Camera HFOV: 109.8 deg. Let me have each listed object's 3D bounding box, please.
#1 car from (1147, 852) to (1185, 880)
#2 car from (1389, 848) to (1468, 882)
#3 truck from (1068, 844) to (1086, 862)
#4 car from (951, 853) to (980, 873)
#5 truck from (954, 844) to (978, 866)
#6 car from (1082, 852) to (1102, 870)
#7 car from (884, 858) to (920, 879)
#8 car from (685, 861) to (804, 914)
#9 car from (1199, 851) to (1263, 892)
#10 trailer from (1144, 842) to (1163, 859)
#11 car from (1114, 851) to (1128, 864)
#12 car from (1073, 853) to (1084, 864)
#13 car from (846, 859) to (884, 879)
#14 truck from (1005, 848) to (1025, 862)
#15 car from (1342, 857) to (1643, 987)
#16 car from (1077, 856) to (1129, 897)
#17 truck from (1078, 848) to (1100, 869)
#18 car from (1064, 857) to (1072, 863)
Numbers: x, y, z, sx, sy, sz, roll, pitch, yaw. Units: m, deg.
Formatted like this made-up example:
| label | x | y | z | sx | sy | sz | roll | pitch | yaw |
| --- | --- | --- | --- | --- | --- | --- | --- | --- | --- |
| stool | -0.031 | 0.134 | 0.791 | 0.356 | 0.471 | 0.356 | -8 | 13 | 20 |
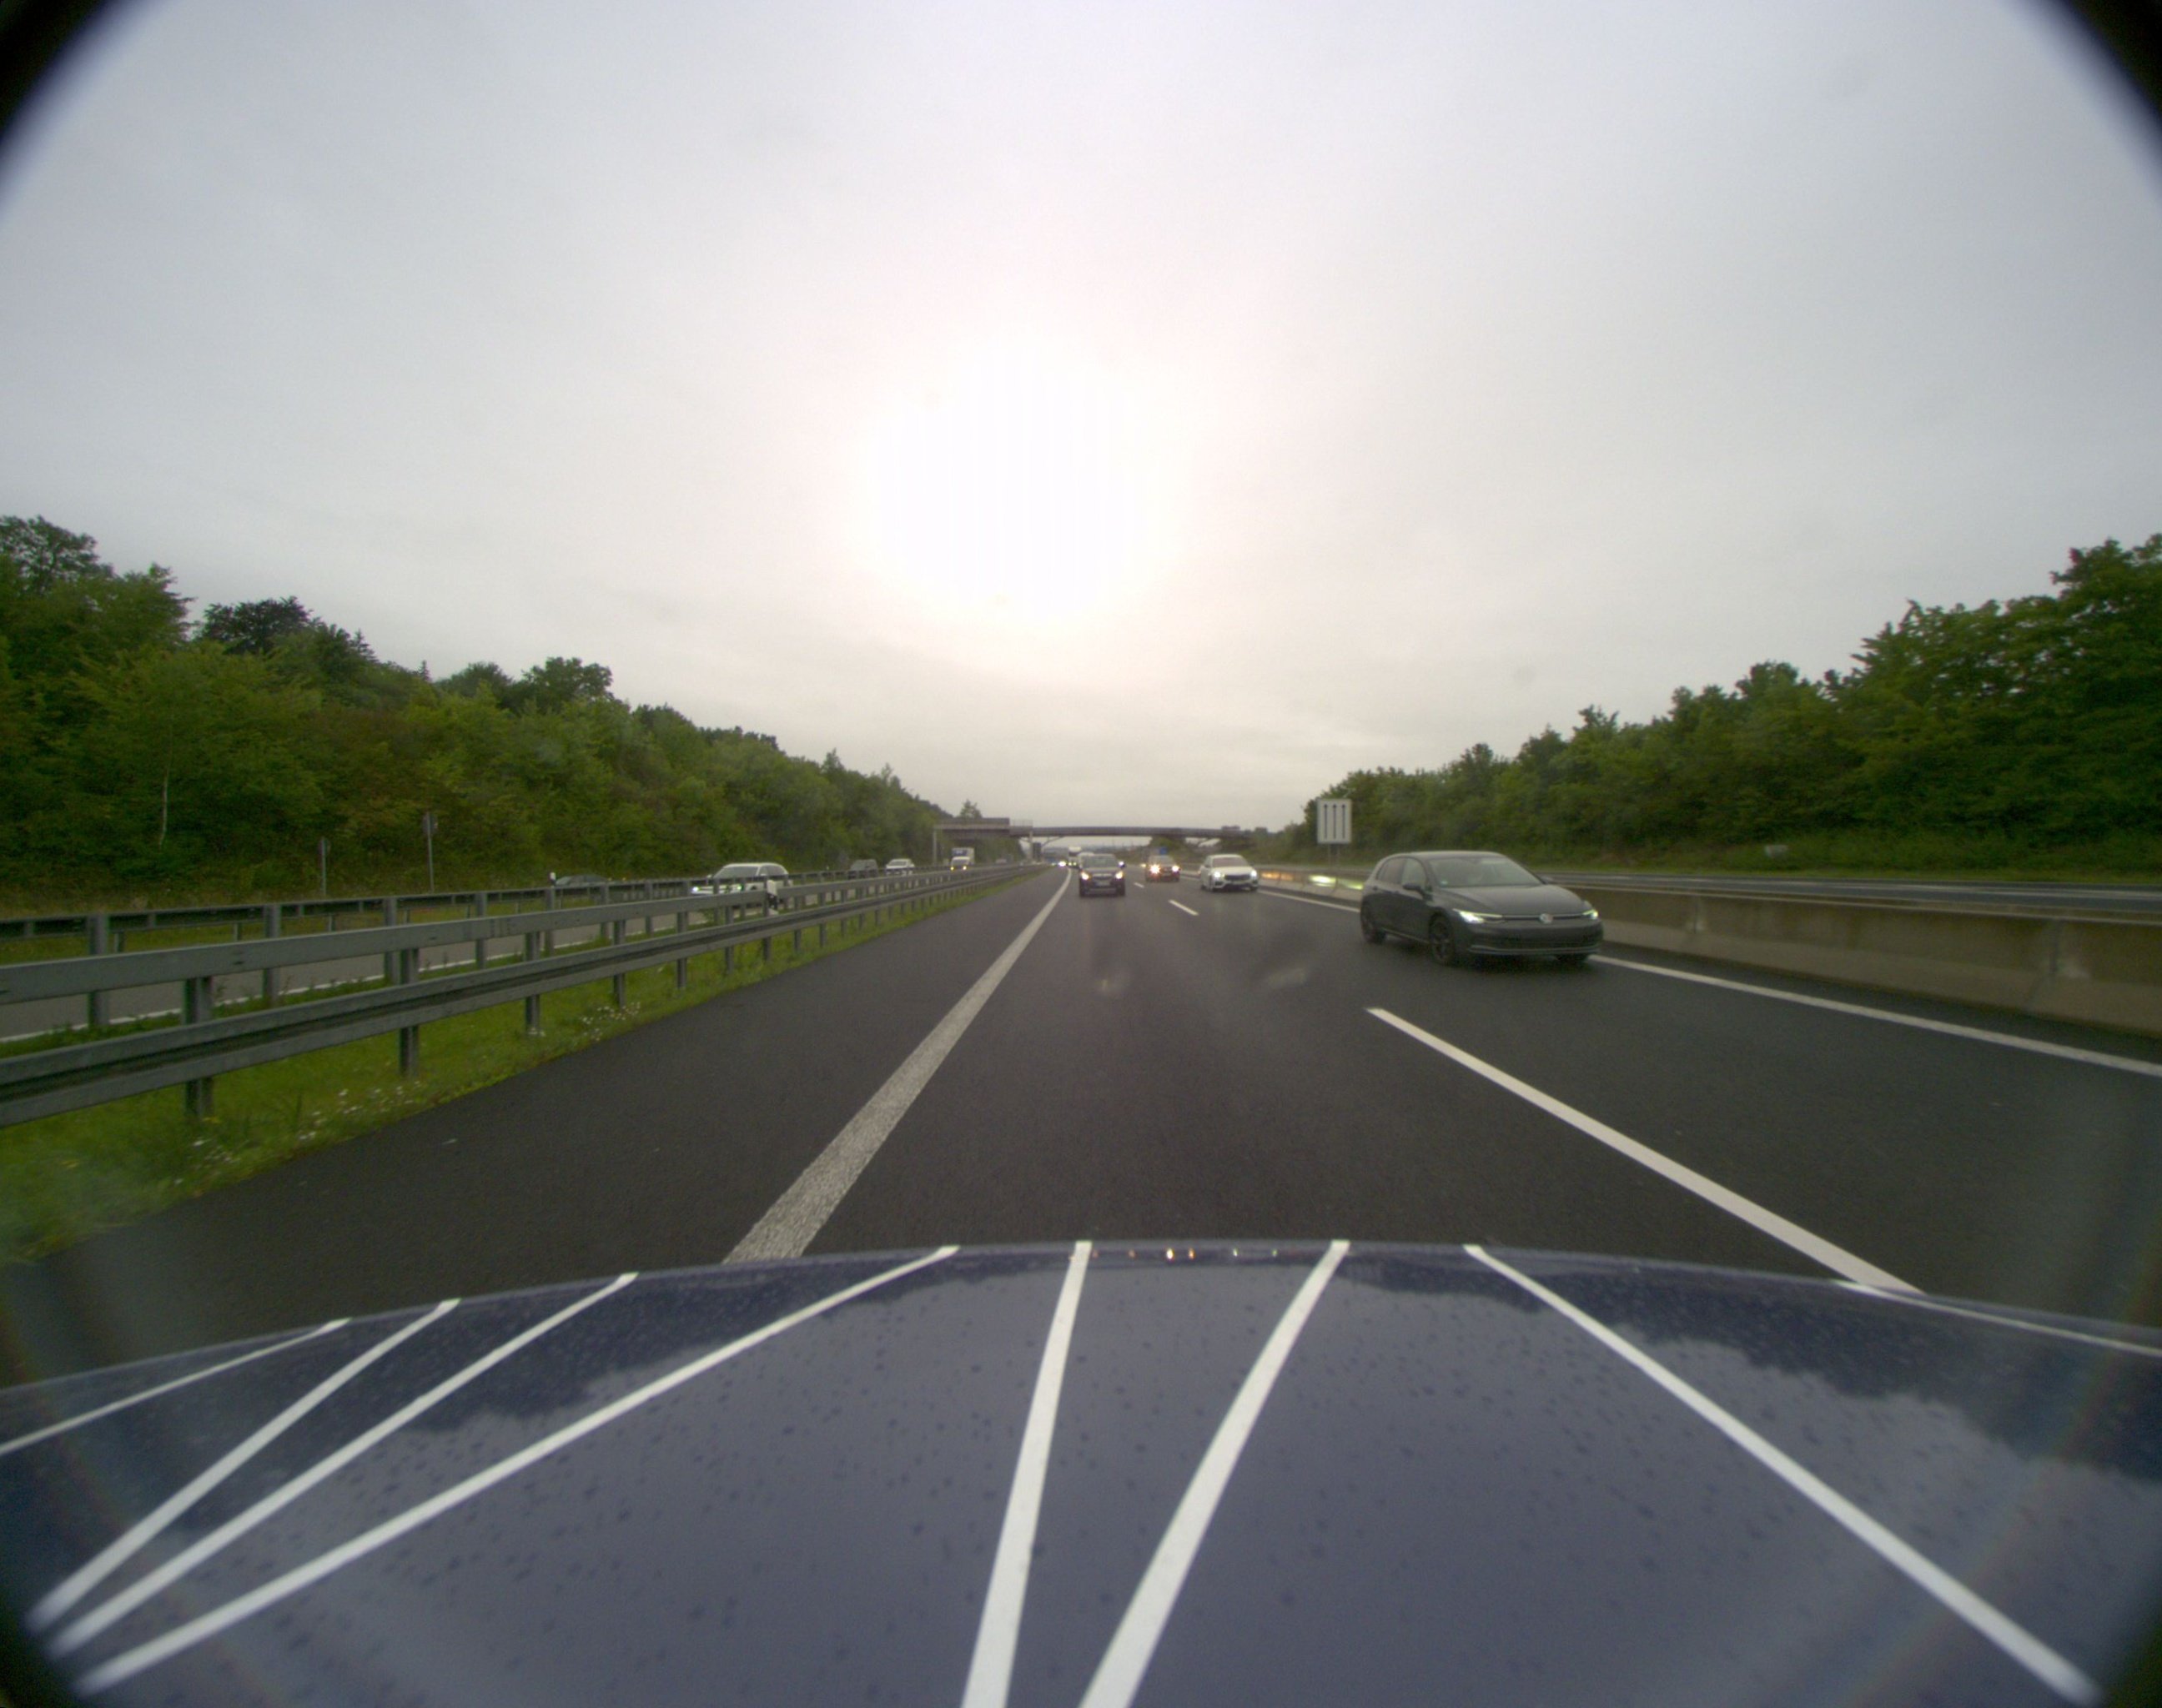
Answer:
| label | x | y | z | sx | sy | sz | roll | pitch | yaw |
| --- | --- | --- | --- | --- | --- | --- | --- | --- | --- |
| car | 4.948 | 0.681 | 44.722 | 1.905 | 1.497 | 4.115 | -1 | 0 | 3 |
| car | 16.857 | 0.500 | 37.120 | 1.987 | 1.497 | 4.140 | -1 | 0 | 1 |
| truck | -0.674 | -0.249 | 149.579 | 3.153 | 3.332 | 13.100 | -2 | 0 | 1 |
| car | -10.712 | 0.797 | 70.849 | 2.013 | 1.804 | 4.276 | -1 | 0 | 0 |
| truck | -18.746 | 0.153 | 124.648 | 2.909 | 3.397 | 9.279 | -2 | 0 | -3 |
| car | 1.130 | 0.717 | 76.972 | 1.825 | 1.669 | 4.000 | -2 | 0 | 3 |
| car | -14.492 | 1.133 | 61.663 | 1.901 | 1.603 | 4.145 | -1 | 0 | 0 |
| car | -11.452 | 1.077 | 26.305 | 2.013 | 1.539 | 4.695 | -1 | 0 | 0 |
| car | 5.996 | 0.657 | 30.831 | 1.905 | 1.497 | 4.115 | -1 | 0 | 3 |
| trailer | 18.088 | -0.848 | 191.424 | 3.268 | 4.059 | 13.844 | -1 | 0 | 0 |
| car | 5.578 | 0.525 | 105.682 | 1.715 | 1.724 | 4.000 | -1 | 0 | 1 |
| car | -0.440 | 0.648 | 122.955 | 1.715 | 1.724 | 4.000 | -1 | 0 | 1 |
| car | -19.541 | 1.331 | 68.829 | 1.998 | 1.725 | 4.642 | -2 | 0 | 1 |
| truck | -16.896 | 0.280 | 194.560 | 2.908 | 3.397 | 13.356 | -1 | 0 | 4 |
| car | 5.418 | 0.778 | 10.808 | 1.905 | 1.397 | 4.459 | -1 | 0 | 1 |
| car | 0.909 | 0.854 | 30.602 | 1.905 | 1.497 | 4.115 | -1 | 0 | 3 |
| truck | 0.961 | 0.513 | 84.694 | 2.174 | 2.214 | 5.643 | -1 | 0 | 3 |
| car | -3.986 | 1.865 | 233.685 | 1.917 | 1.671 | 4.000 | -2 | 0 | 2 |
